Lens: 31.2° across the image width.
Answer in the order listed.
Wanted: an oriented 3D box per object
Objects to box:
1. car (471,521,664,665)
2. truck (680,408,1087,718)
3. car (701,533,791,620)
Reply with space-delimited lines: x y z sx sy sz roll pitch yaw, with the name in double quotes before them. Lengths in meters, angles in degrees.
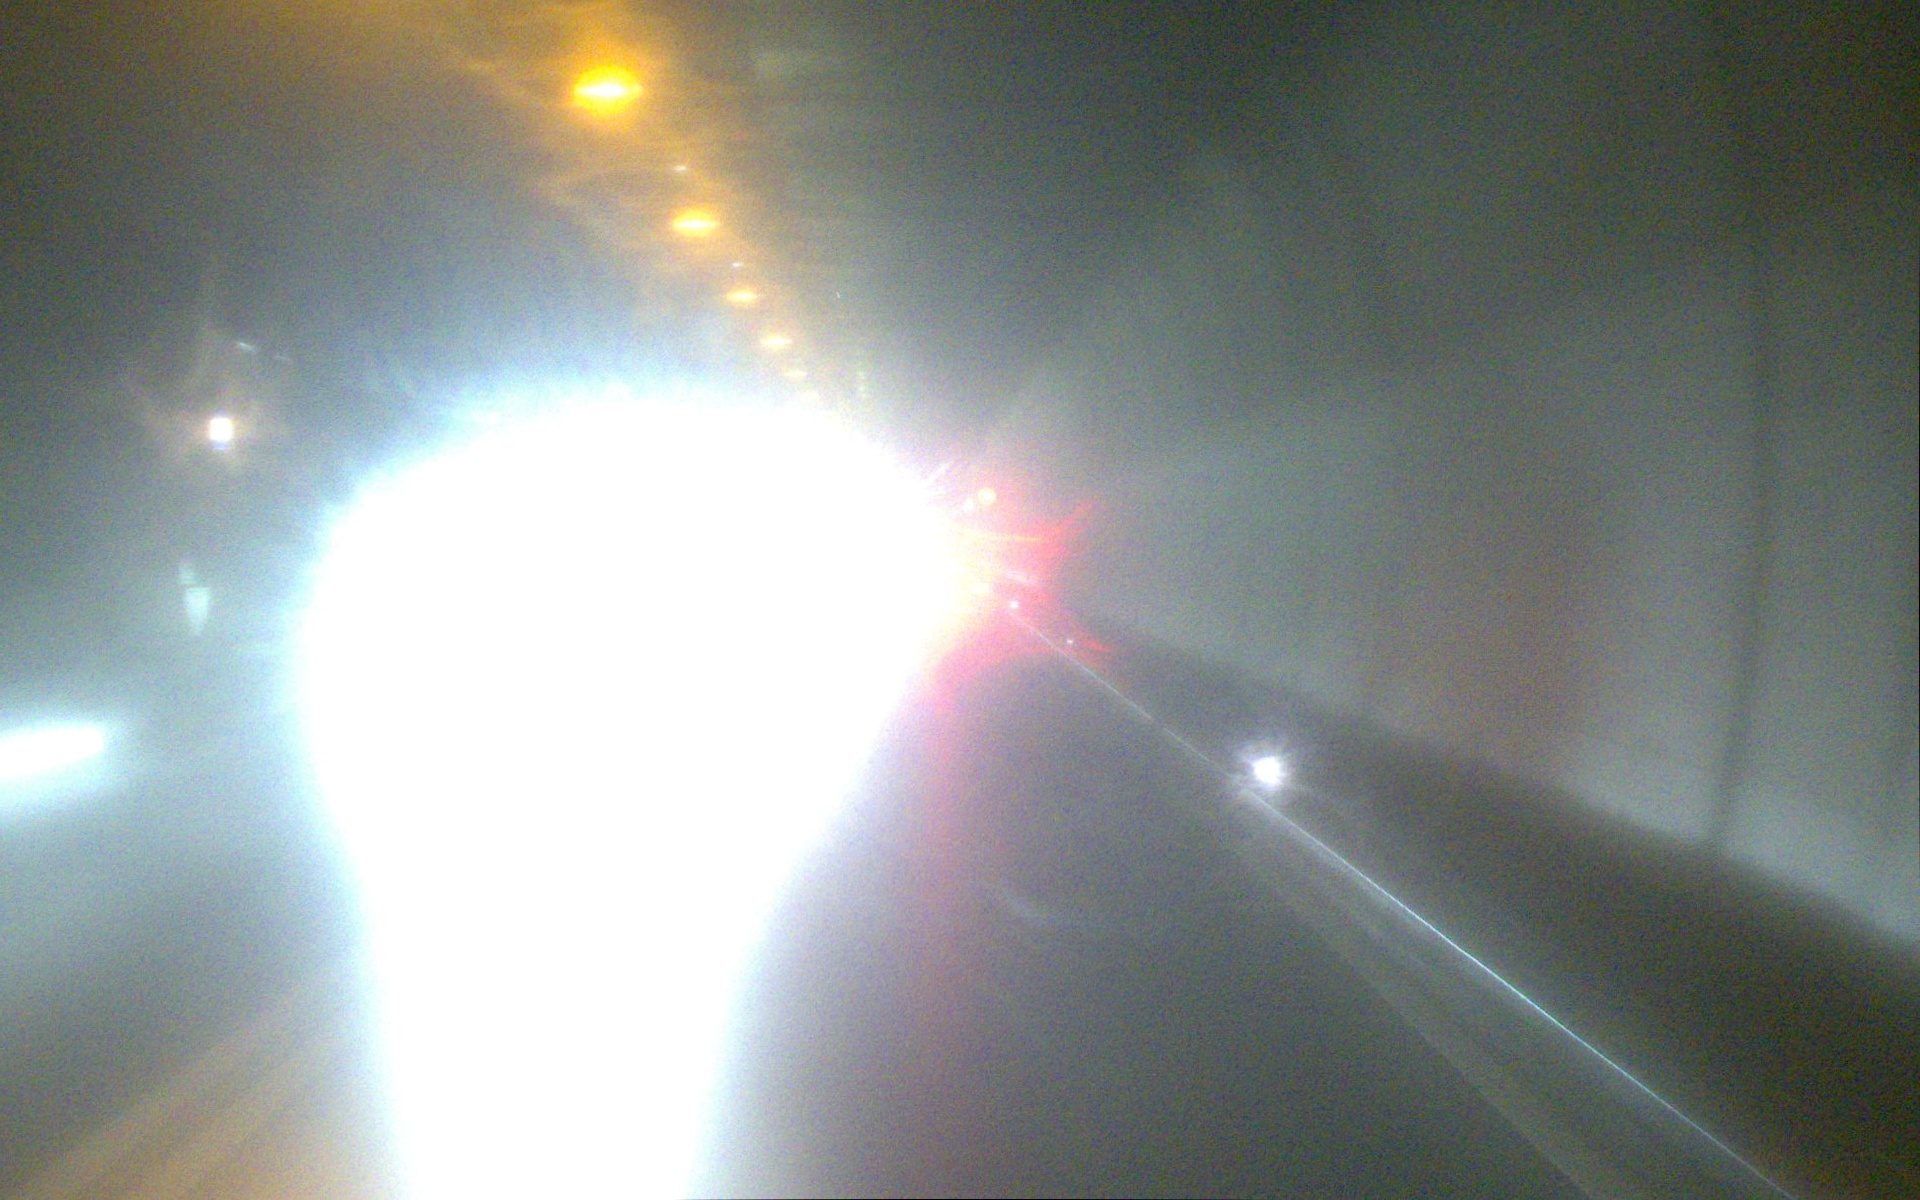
"car" -4.263 -0.120 37.820 1.759 1.475 3.887 -1 1 -2
"truck" -0.710 -0.403 34.446 3.535 2.684 8.956 0 1 -1
"car" -4.602 -0.518 74.294 1.729 1.786 3.932 1 1 -1
